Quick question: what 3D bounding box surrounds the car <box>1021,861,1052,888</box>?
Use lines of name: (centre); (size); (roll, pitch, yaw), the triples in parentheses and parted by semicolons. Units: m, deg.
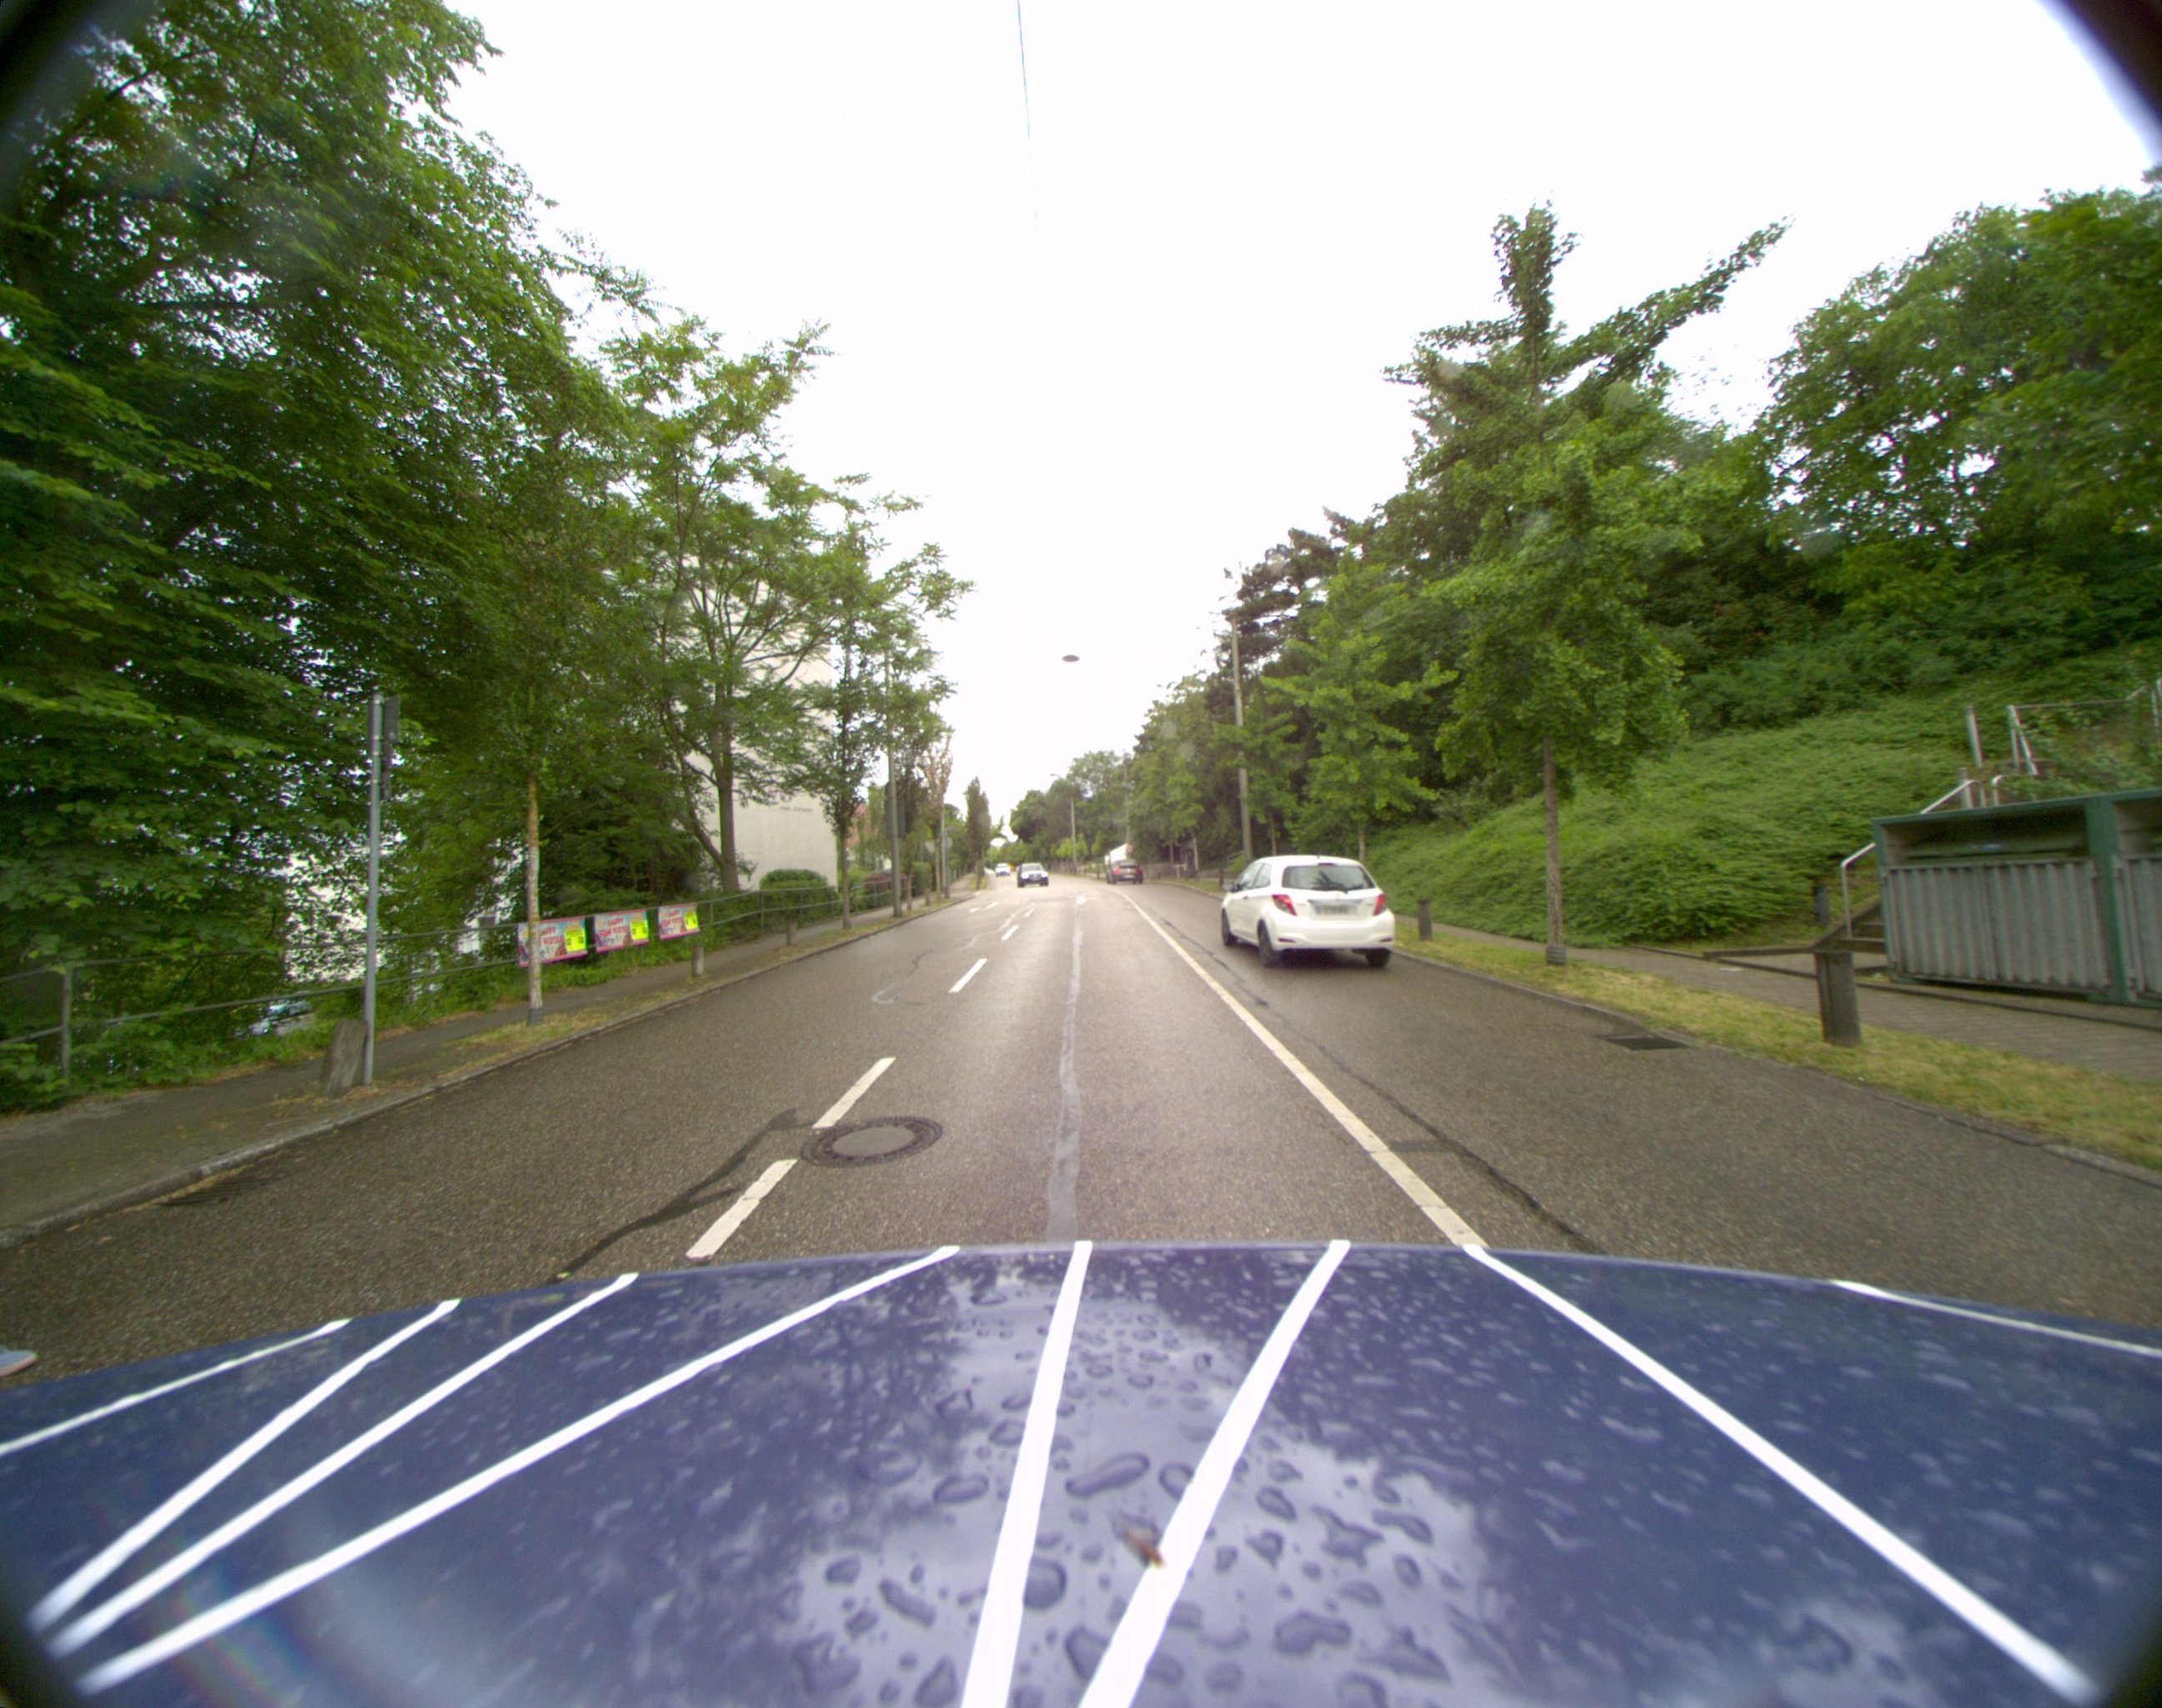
car: (-3.041, 1.381, 52.770); (1.834, 1.609, 4.292); (-3, 1, 0)

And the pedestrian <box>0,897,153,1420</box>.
pedestrian: (-4.302, 1.094, 2.610); (1.072, 1.772, 0.824); (-4, 1, 2)

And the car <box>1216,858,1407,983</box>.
car: (3.229, 0.850, 11.452); (1.713, 1.522, 3.841); (0, 0, 0)

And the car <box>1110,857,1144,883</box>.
car: (2.718, 0.915, 45.499); (1.782, 1.440, 4.000); (0, 0, 0)

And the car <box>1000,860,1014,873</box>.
car: (-10.246, 1.719, 104.841); (1.835, 1.609, 4.348); (-3, 1, -5)
